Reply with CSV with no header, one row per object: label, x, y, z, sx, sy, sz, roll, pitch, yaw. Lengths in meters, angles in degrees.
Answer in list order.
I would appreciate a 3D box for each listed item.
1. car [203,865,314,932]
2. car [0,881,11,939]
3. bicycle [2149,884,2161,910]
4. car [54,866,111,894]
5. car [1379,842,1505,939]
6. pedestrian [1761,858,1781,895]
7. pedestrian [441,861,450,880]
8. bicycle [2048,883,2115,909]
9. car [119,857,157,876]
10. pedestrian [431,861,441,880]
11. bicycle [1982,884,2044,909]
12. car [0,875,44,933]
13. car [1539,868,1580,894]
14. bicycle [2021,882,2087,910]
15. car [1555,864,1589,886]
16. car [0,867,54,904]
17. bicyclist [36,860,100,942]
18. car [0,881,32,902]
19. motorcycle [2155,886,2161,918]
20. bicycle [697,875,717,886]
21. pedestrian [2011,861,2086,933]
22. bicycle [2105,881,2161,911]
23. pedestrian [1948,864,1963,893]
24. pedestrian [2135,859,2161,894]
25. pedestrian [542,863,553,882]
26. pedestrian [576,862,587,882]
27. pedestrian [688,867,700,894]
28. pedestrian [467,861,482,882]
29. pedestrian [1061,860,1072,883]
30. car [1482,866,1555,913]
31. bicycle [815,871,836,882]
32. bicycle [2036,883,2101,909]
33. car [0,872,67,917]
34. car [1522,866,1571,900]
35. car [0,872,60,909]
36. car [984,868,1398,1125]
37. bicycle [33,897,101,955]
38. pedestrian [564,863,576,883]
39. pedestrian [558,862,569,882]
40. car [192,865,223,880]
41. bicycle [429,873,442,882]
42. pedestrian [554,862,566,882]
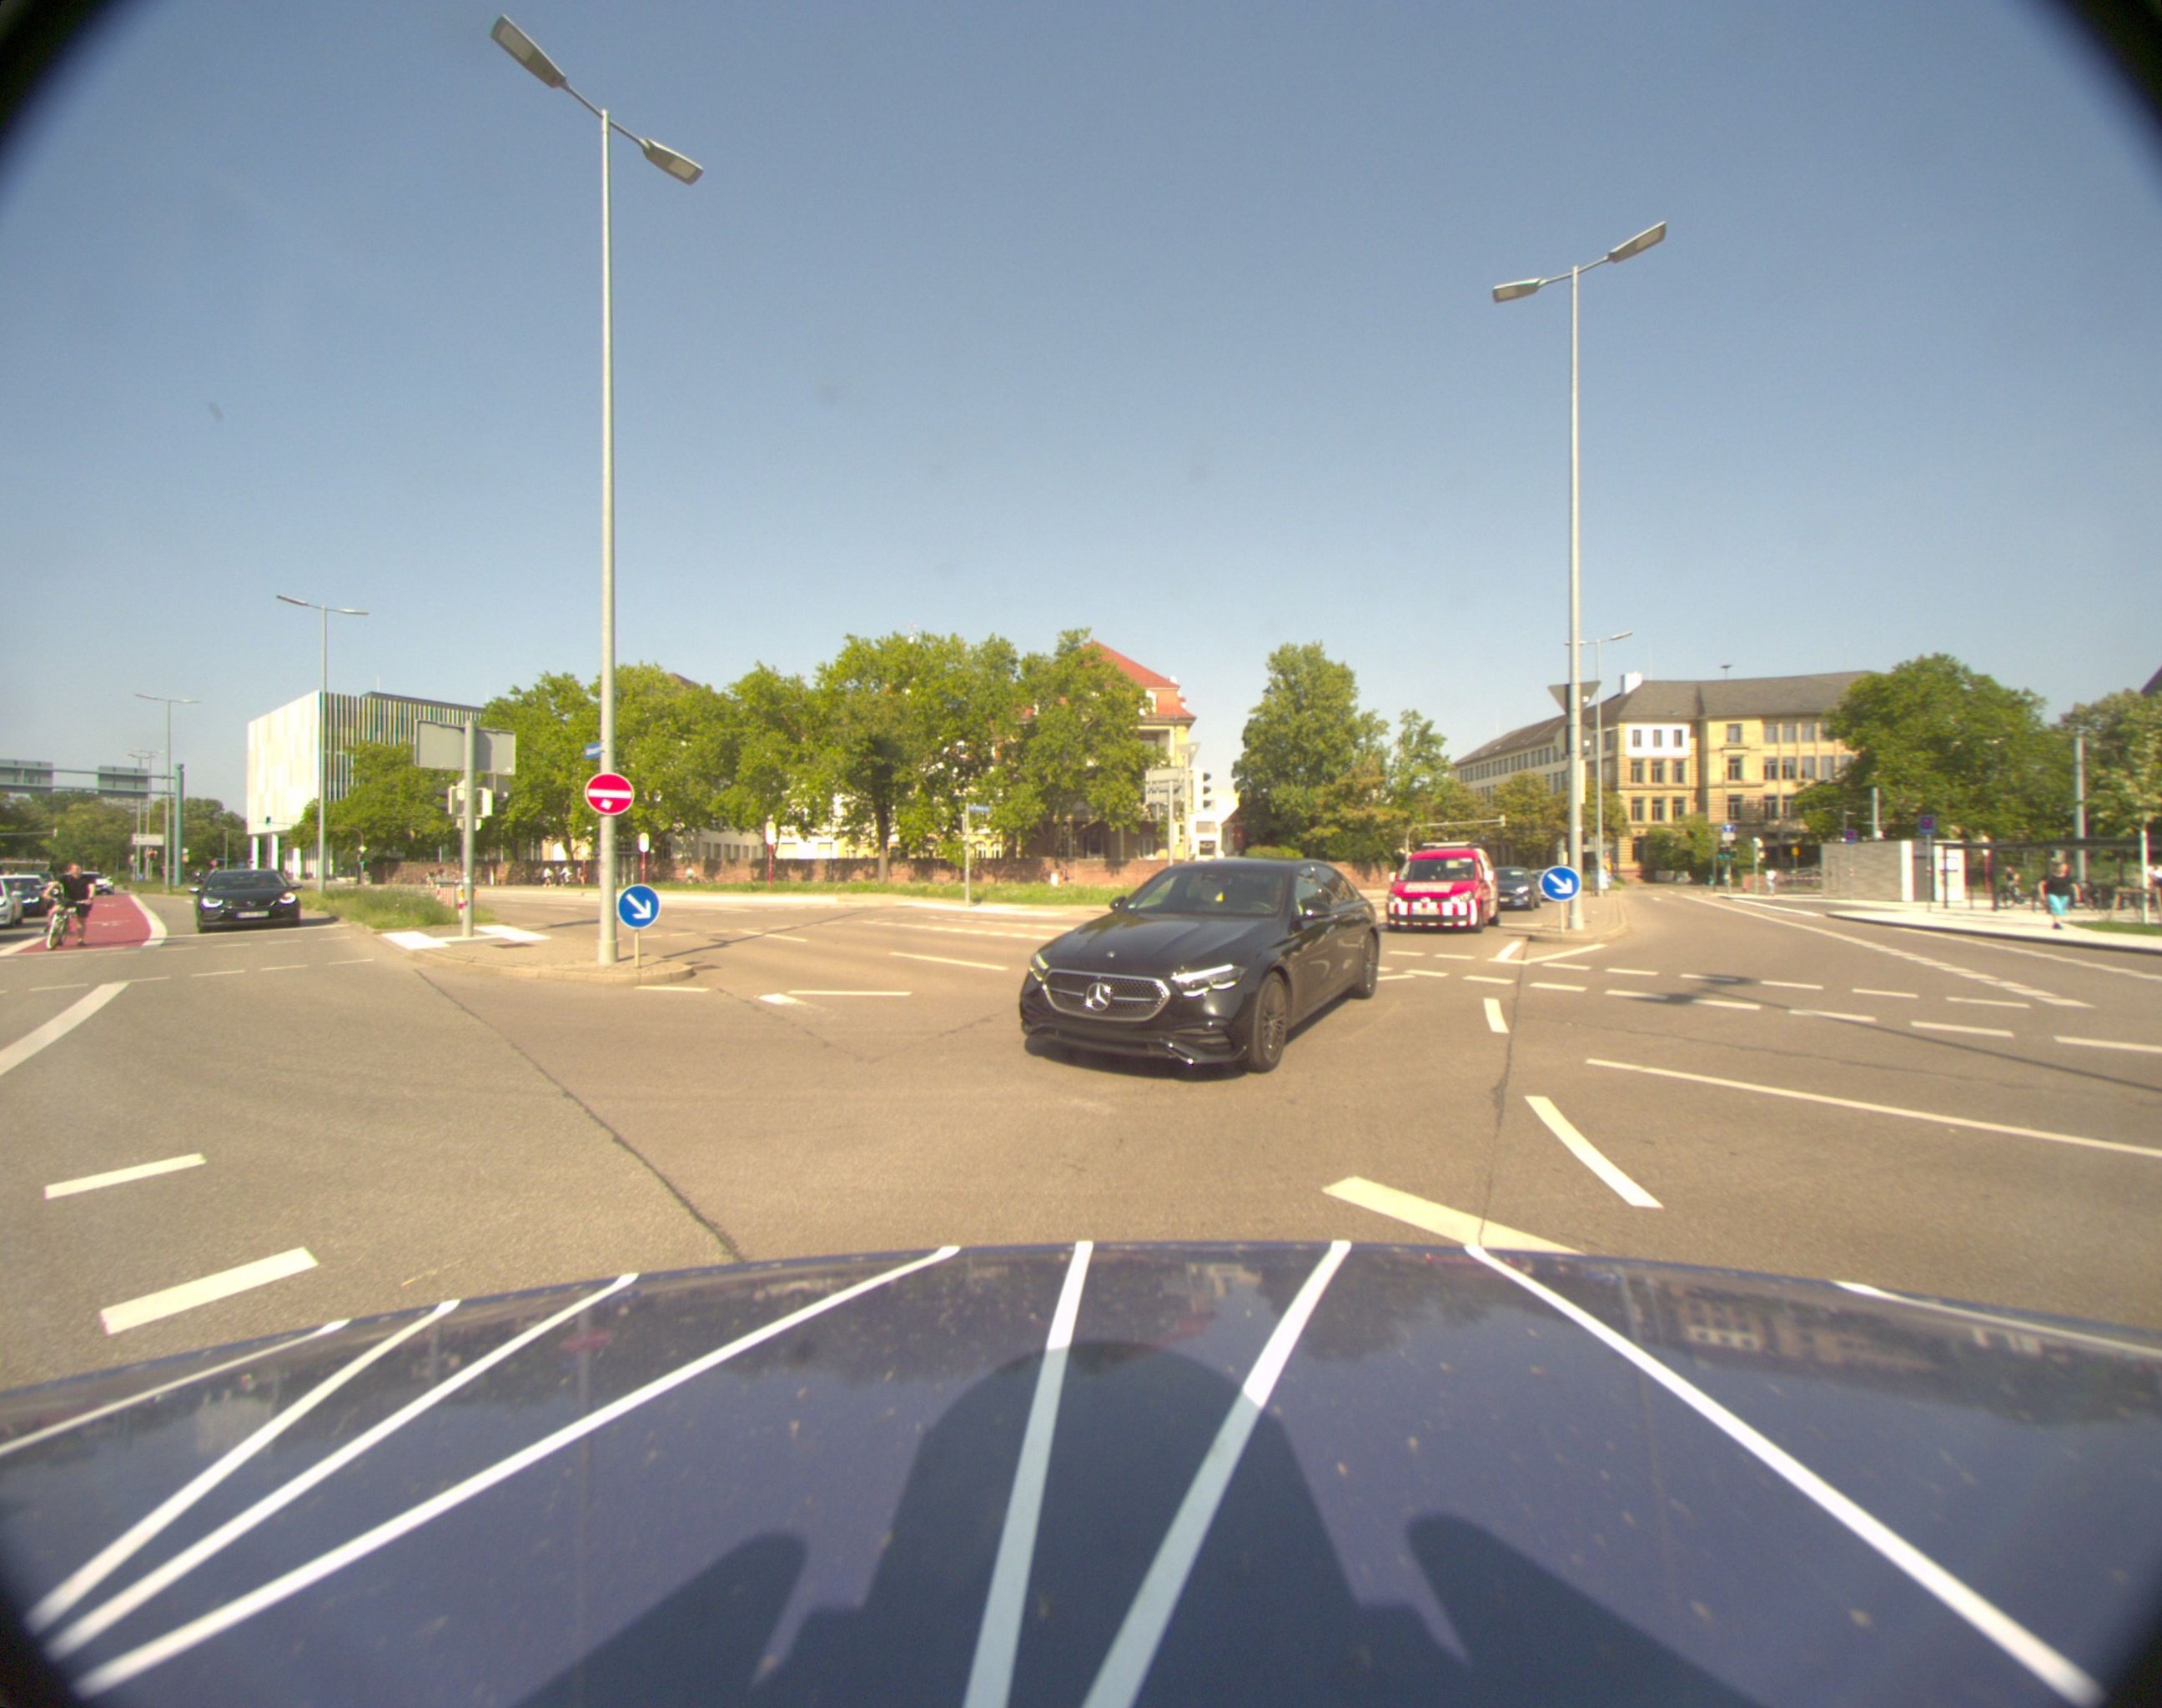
car,-21.939,1.088,20.321,4.701,1.569,1.858,-1,-1,43
car,-26.062,1.348,17.024,4.906,1.392,1.916,-1,-1,41
bicycle,38.068,1.512,26.154,0.409,0.887,1.588,0,-1,2
car,-61.633,1.563,46.886,4.283,1.650,1.937,-1,-1,35
car,7.909,0.758,16.415,1.733,1.808,4.288,0,-2,35
pedestrian,38.597,1.253,42.487,0.716,2.001,0.731,0,0,-40
pedestrian,-56.853,1.463,67.938,0.504,1.729,0.487,-3,-2,34
bicycle,37.124,1.555,28.214,0.409,0.887,1.588,0,-1,2
car,-104.671,1.421,84.327,3.990,2.001,1.924,-3,-2,29
pedestrian,-57.283,1.460,67.474,0.504,1.729,0.487,-3,-2,34
bicycle,34.749,1.571,28.361,0.401,0.887,1.588,0,-1,2
car,-30.948,1.361,21.178,4.422,1.497,2.004,-1,-1,41
car,26.236,1.461,41.606,1.603,1.321,4.342,0,-1,36
bicycle,35.903,1.524,28.055,0.421,0.961,1.588,0,-1,2
car,37.196,1.559,57.524,1.994,1.543,4.009,0,0,36
car,-50.223,1.463,35.893,4.283,1.650,1.937,-1,-1,35
bicyclist,-20.792,0.933,15.613,0.873,1.625,0.750,0,0,39
car,-88.453,3.064,62.850,4.283,1.650,1.937,-1,-1,35
motorcycle,33.418,1.465,22.584,0.542,1.003,1.746,0,-1,1
bicycle,-29.616,2.099,60.158,1.547,0.830,0.434,0,0,13
pedestrian,21.667,0.945,17.033,0.752,1.556,0.668,1,0,18
bicycle,37.094,1.450,26.480,0.533,0.981,1.714,0,-1,1
pedestrian,52.518,1.450,45.620,0.504,1.697,0.517,0,0,-31
pedestrian,53.196,1.097,37.841,0.715,1.738,0.390,0,0,33
pedestrian,-43.856,1.544,62.508,0.501,1.561,0.536,-2,-2,16
pedestrian,-41.137,1.468,62.595,0.593,1.641,0.484,-2,-2,18
pedestrian,-30.379,2.046,59.696,0.593,2.092,0.520,-2,-2,18
pedestrian,-56.294,1.612,70.553,0.930,1.941,0.743,-3,-2,27
pedestrian,-1.042,1.286,55.256,0.717,1.673,0.595,0,0,4
car,14.793,1.130,25.589,1.636,1.418,4.331,0,-1,37
bicycle,-19.515,1.684,58.059,1.547,0.830,0.434,0,0,11
bicycle,36.607,1.553,28.190,0.401,0.887,1.588,0,-1,2
car,-38.529,1.412,27.428,4.282,1.497,2.004,-1,-1,41
car,21.483,1.293,35.018,1.716,1.425,3.868,0,-1,34
car,-45.502,1.525,32.573,4.283,1.497,1.937,-1,-1,35
car,1.423,0.872,6.935,1.821,1.431,4.884,0,0,34
bicycle,-20.791,1.450,15.609,1.770,1.046,0.772,0,0,39
pedestrian,-41.394,1.549,61.596,0.593,1.641,0.520,-2,-2,18
pedestrian,-43.451,1.547,63.826,0.593,1.641,0.484,-2,-2,18
car,-95.191,2.032,82.838,3.989,1.564,1.715,0,-1,34
bicycle,-62.826,2.291,73.960,1.546,0.830,0.435,0,0,29
pedestrian,-42.579,1.479,62.098,0.593,1.641,0.520,-2,-2,18
